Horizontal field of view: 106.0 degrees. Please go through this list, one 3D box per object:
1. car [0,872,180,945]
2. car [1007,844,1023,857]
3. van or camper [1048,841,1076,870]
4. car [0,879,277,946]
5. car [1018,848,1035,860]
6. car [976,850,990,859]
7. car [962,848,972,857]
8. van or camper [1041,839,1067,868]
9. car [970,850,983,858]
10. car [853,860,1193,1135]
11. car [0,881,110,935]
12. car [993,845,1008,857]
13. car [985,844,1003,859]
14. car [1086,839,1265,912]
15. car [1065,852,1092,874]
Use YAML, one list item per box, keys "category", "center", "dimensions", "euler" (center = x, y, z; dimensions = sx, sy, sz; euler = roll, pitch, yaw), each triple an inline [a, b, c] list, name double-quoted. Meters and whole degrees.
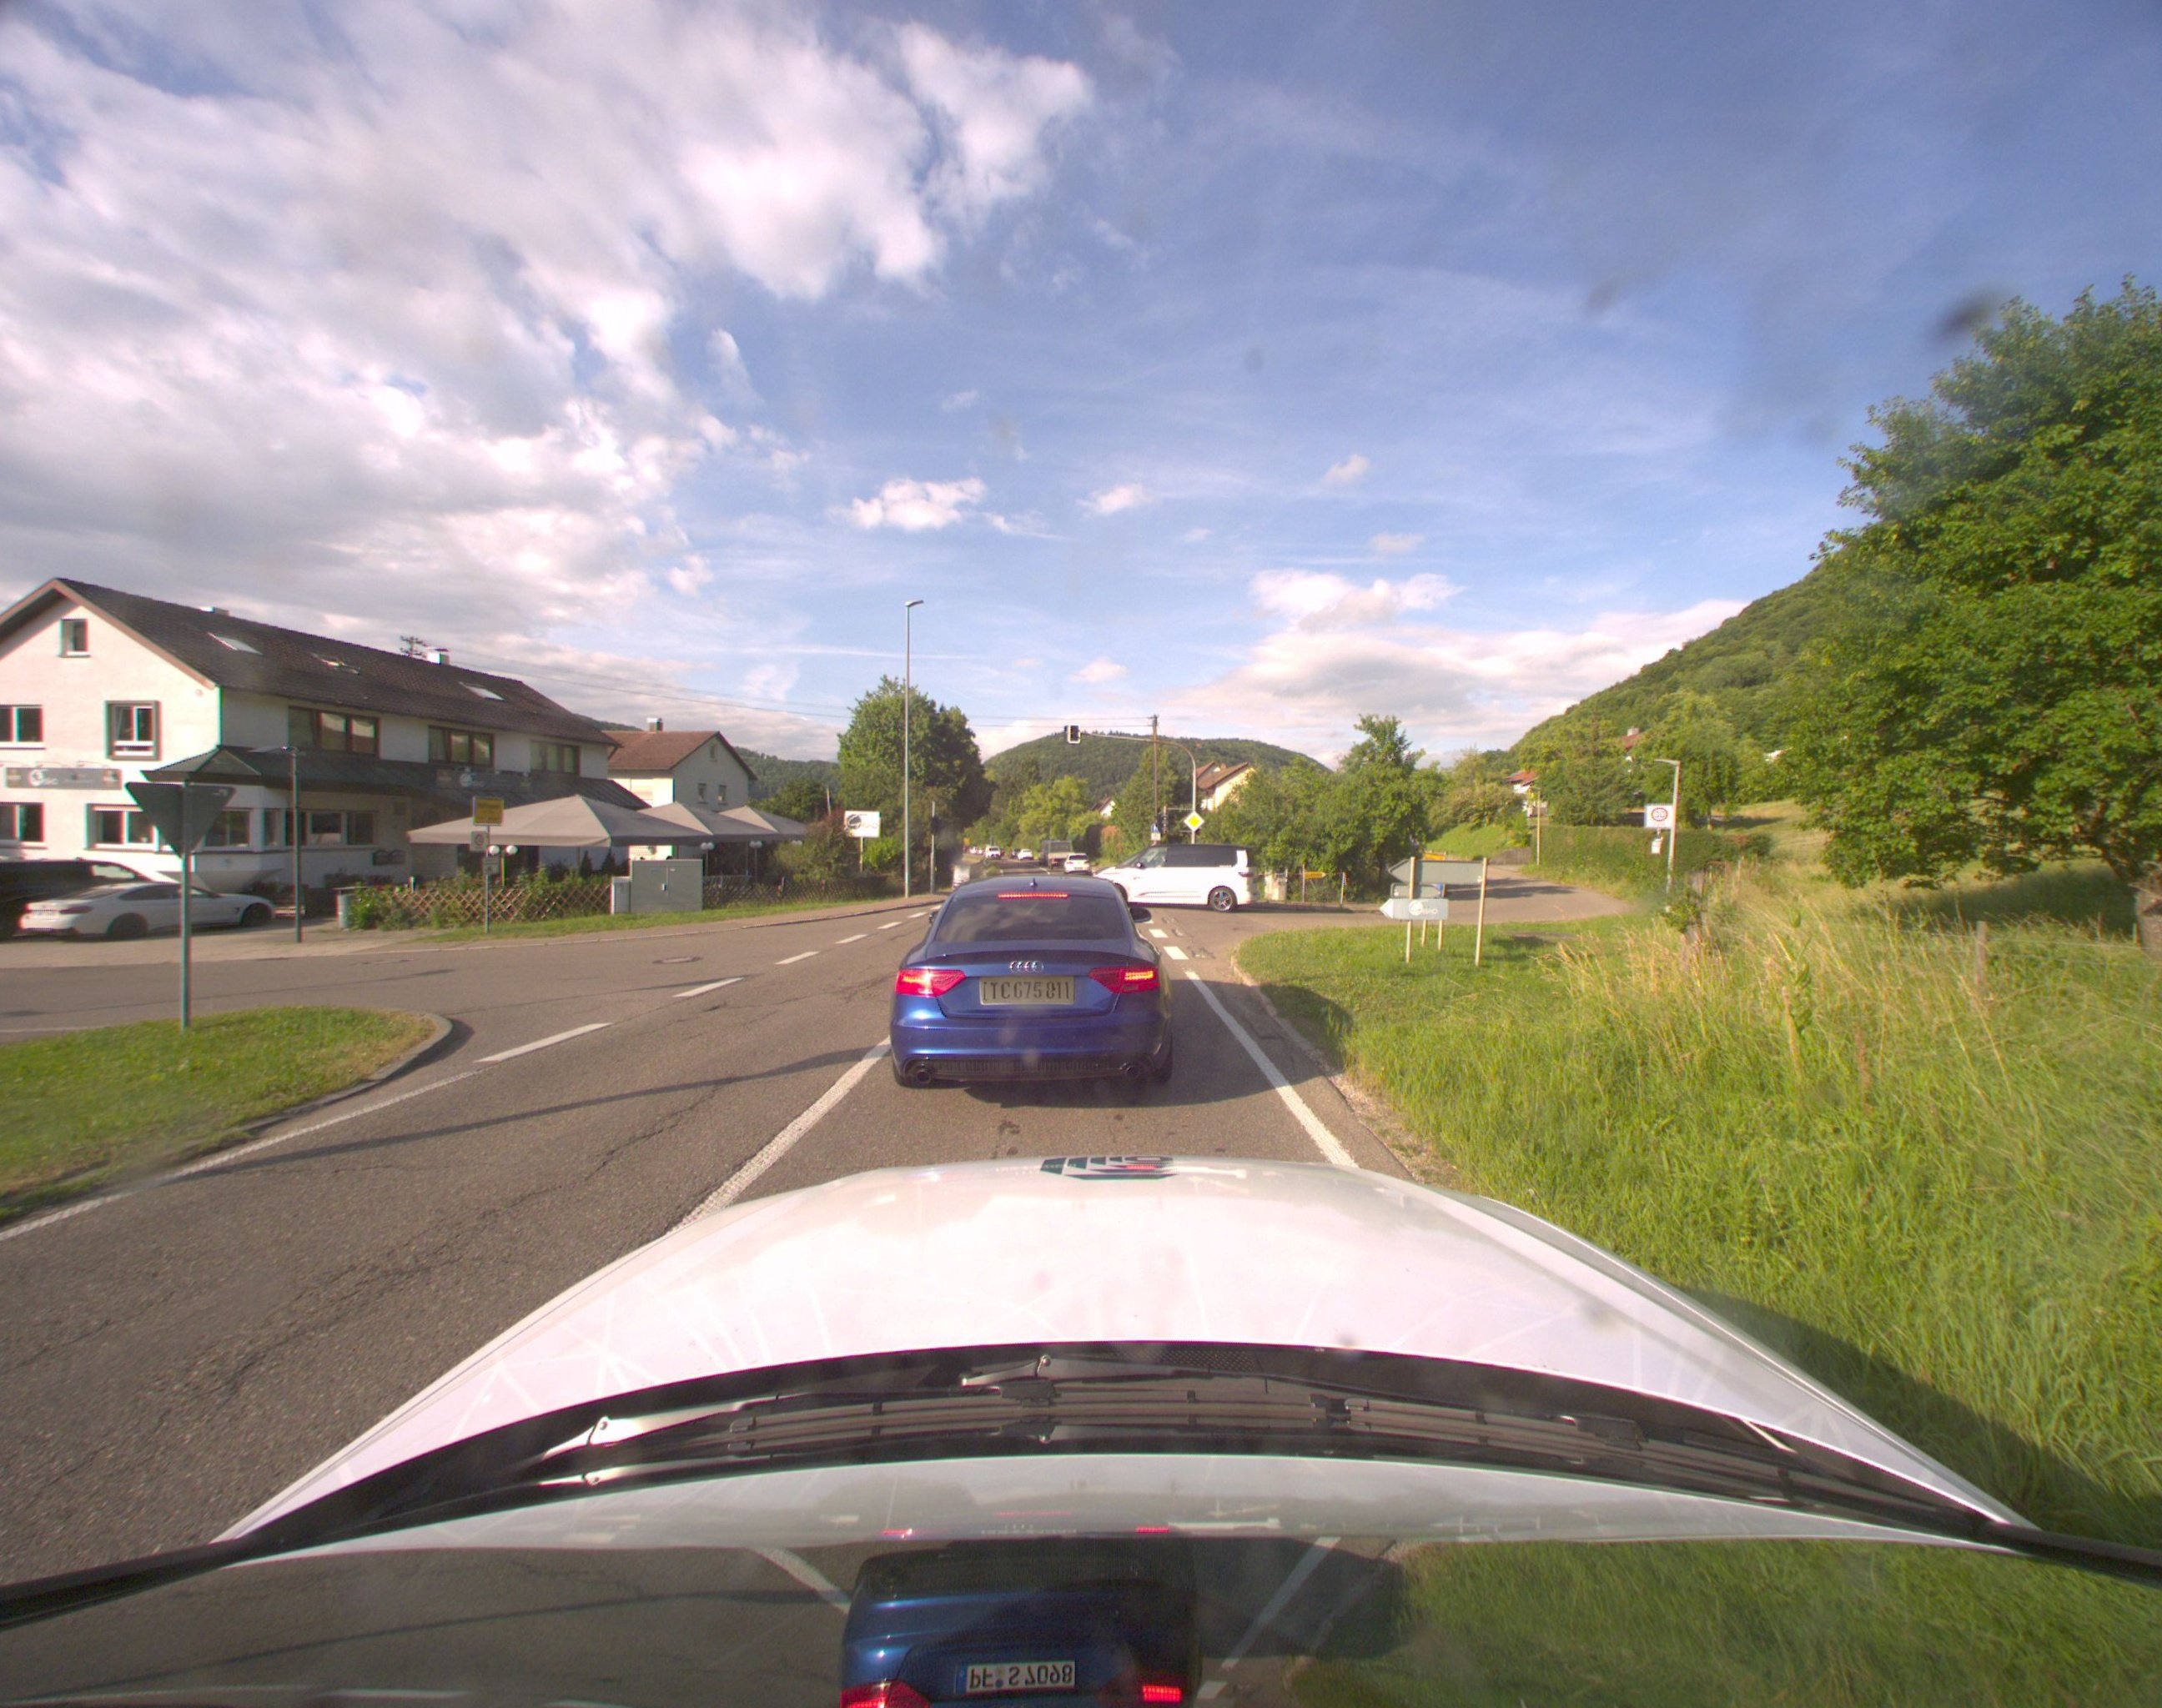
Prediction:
- category: "car"
  center: [-27.335, 1.395, 21.407]
  dimensions: [1.984, 1.685, 4.582]
  euler: [-2, 0, 5]
- category: "car"
  center: [-9.752, -0.511, 120.240]
  dimensions: [1.797, 1.794, 3.984]
  euler: [-1, 0, -12]
- category: "van or camper"
  center: [-1.719, 0.072, 71.142]
  dimensions: [2.176, 2.385, 5.362]
  euler: [-1, 0, -4]
- category: "car"
  center: [-24.647, 1.460, 21.541]
  dimensions: [1.984, 1.389, 4.582]
  euler: [-2, 0, 5]
- category: "car"
  center: [-7.304, -0.004, 108.924]
  dimensions: [1.820, 1.552, 3.985]
  euler: [-1, 0, -11]
- category: "car"
  center: [-18.908, 0.112, 157.073]
  dimensions: [1.946, 1.684, 3.978]
  euler: [-2, 0, -16]
- category: "car"
  center: [-24.898, -0.315, 178.488]
  dimensions: [1.774, 1.783, 3.981]
  euler: [-1, 0, -13]
- category: "van or camper"
  center: [-2.836, -0.044, 84.987]
  dimensions: [2.410, 2.904, 6.122]
  euler: [-1, 0, -4]
- category: "car"
  center: [-21.296, -0.029, 166.025]
  dimensions: [1.946, 1.424, 3.979]
  euler: [-1, 1, -16]
- category: "car"
  center: [-0.307, 0.800, 6.589]
  dimensions: [1.824, 1.409, 4.226]
  euler: [-2, 0, 0]
- category: "car"
  center: [-30.404, 1.535, 22.266]
  dimensions: [1.984, 1.389, 4.582]
  euler: [-2, 0, 5]
- category: "car"
  center: [-13.862, -0.468, 139.869]
  dimensions: [1.997, 2.013, 3.979]
  euler: [-1, 1, -16]
- category: "car"
  center: [-12.490, -0.365, 116.719]
  dimensions: [1.994, 1.903, 5.234]
  euler: [-2, 1, -11]
- category: "car"
  center: [2.770, 0.563, 23.661]
  dimensions: [4.817, 1.876, 2.009]
  euler: [1, 1, 17]
- category: "car"
  center: [-0.145, 0.590, 54.510]
  dimensions: [1.765, 1.415, 4.174]
  euler: [1, 0, 0]
